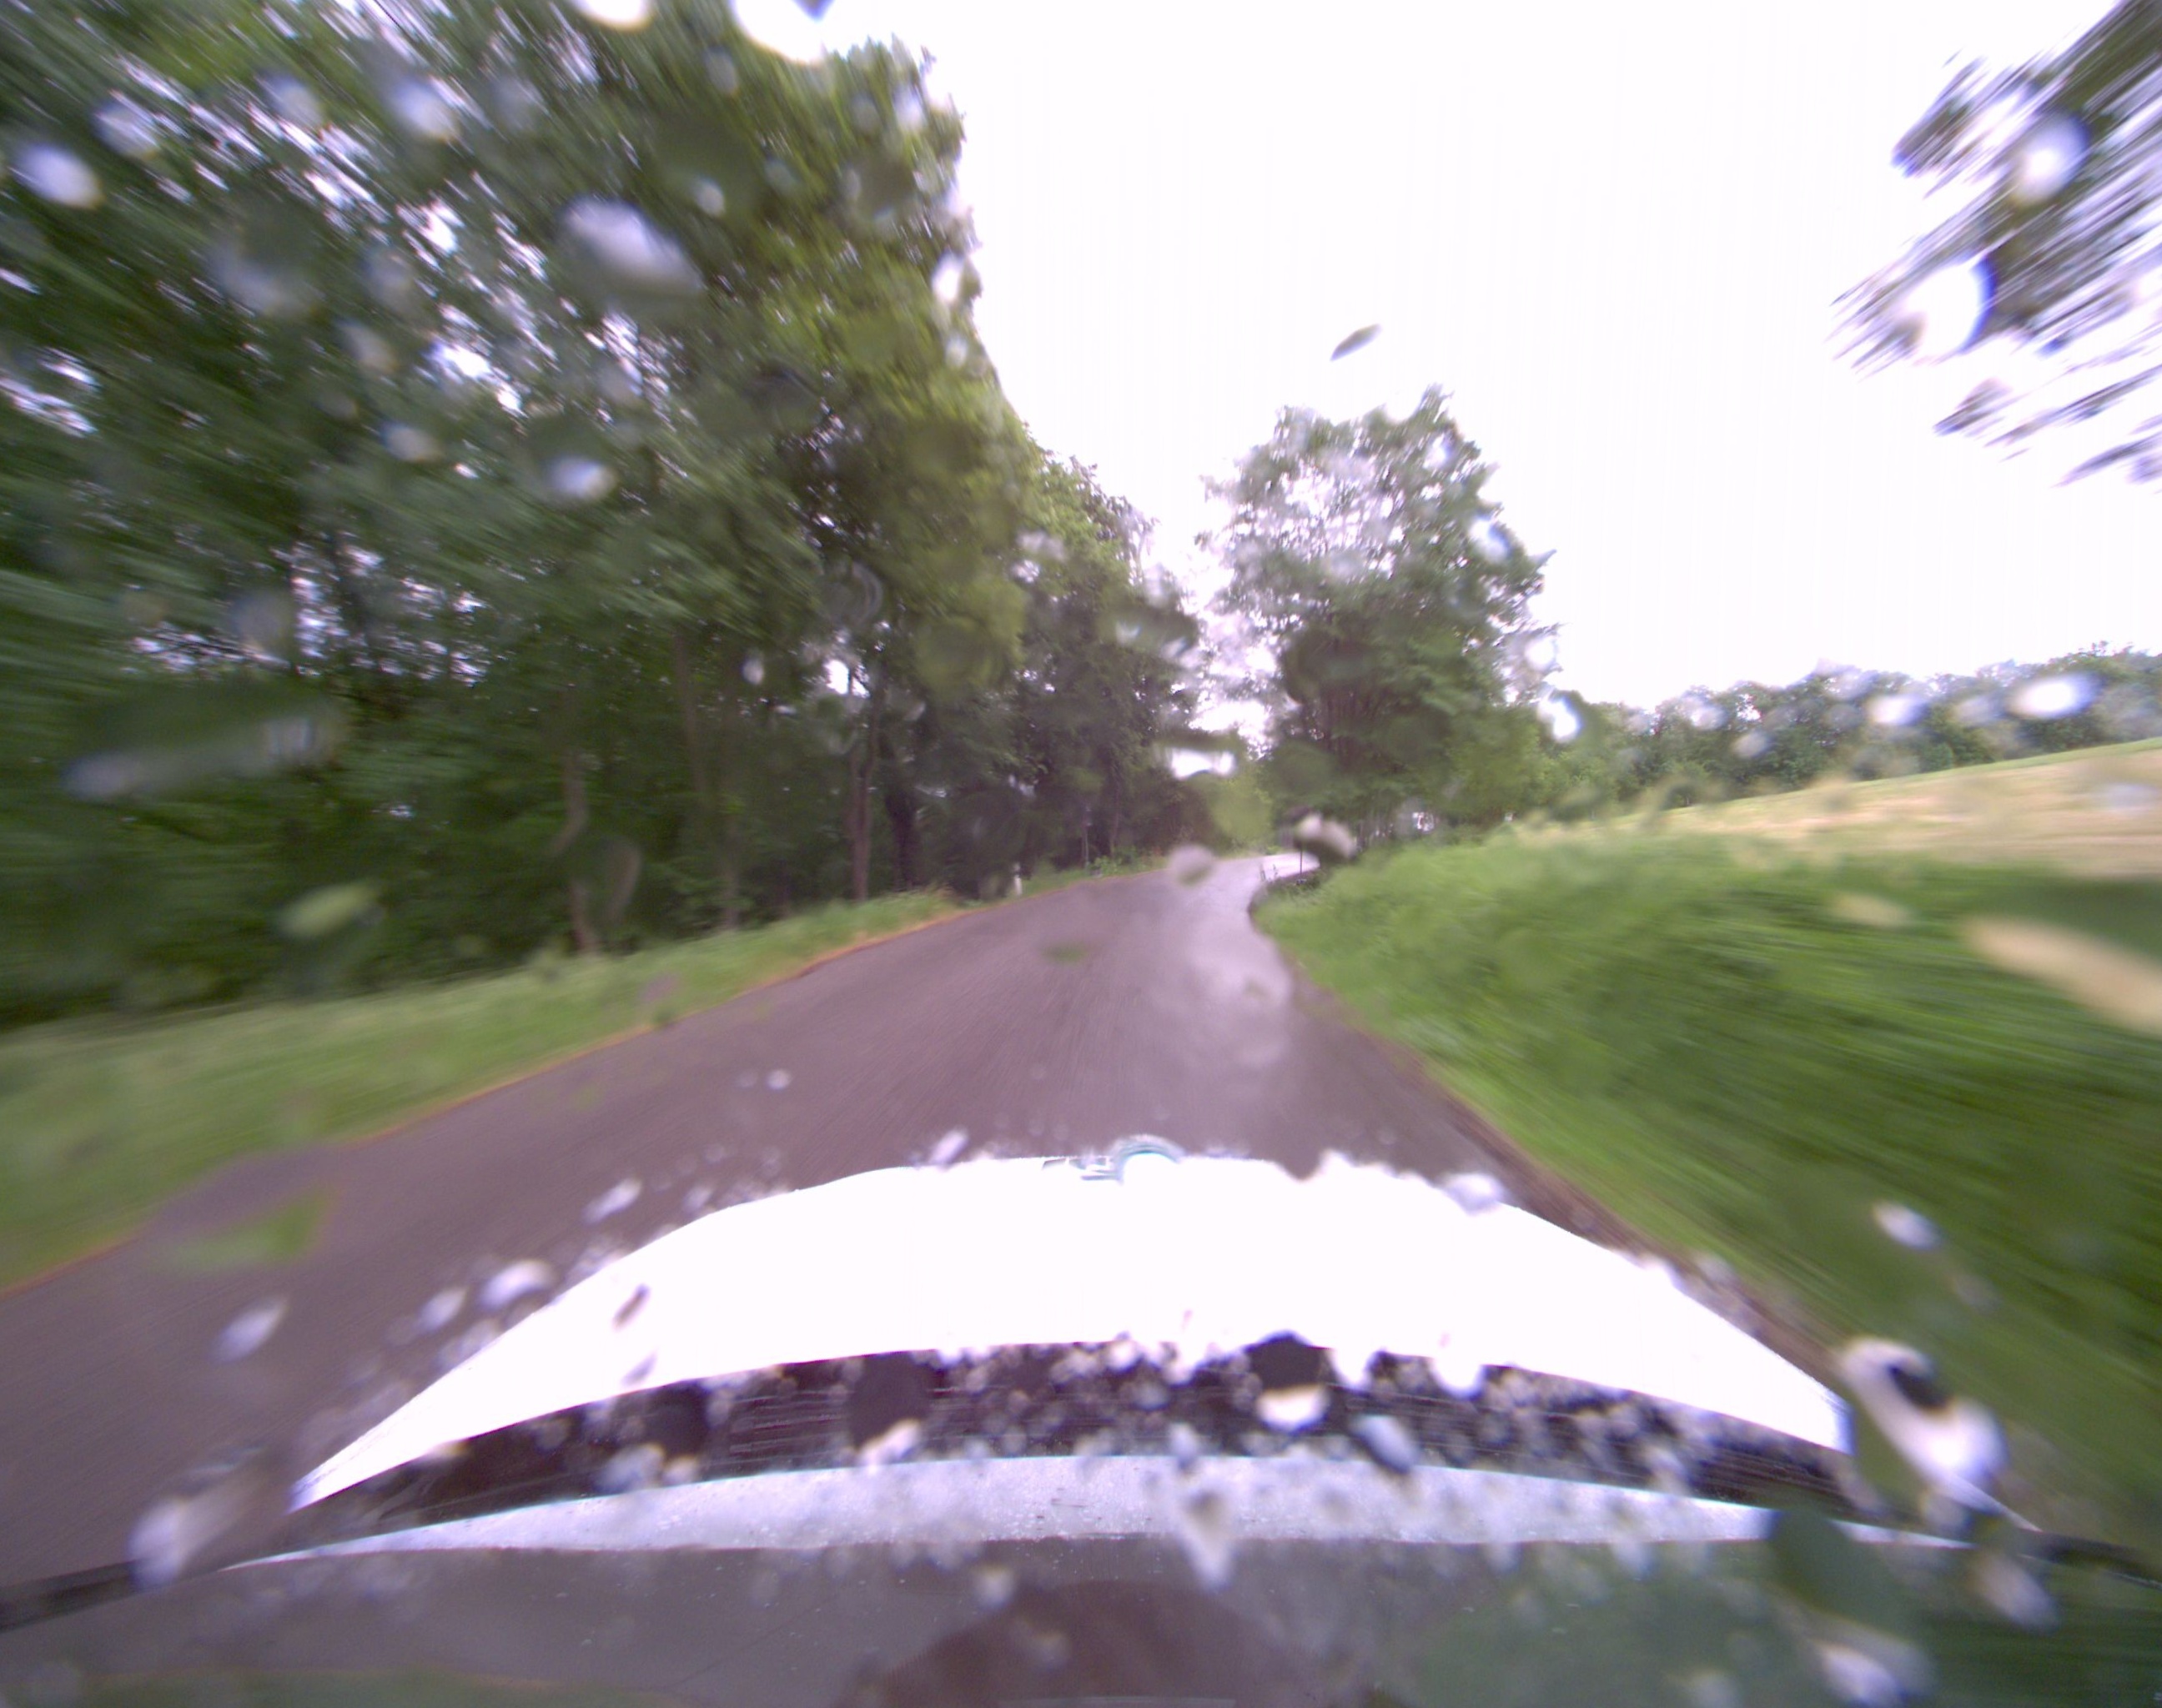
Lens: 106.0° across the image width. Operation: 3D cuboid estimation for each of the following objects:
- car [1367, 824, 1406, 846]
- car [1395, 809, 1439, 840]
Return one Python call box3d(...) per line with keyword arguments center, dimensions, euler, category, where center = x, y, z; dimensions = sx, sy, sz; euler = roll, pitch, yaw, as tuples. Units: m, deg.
box3d(center=(27.151, -1.726, 72.229), dimensions=(1.843, 1.595, 4.525), euler=(-3, 2, 39), category="car")
box3d(center=(33.140, -2.934, 80.171), dimensions=(2.250, 2.696, 6.089), euler=(-5, 1, 38), category="car")
